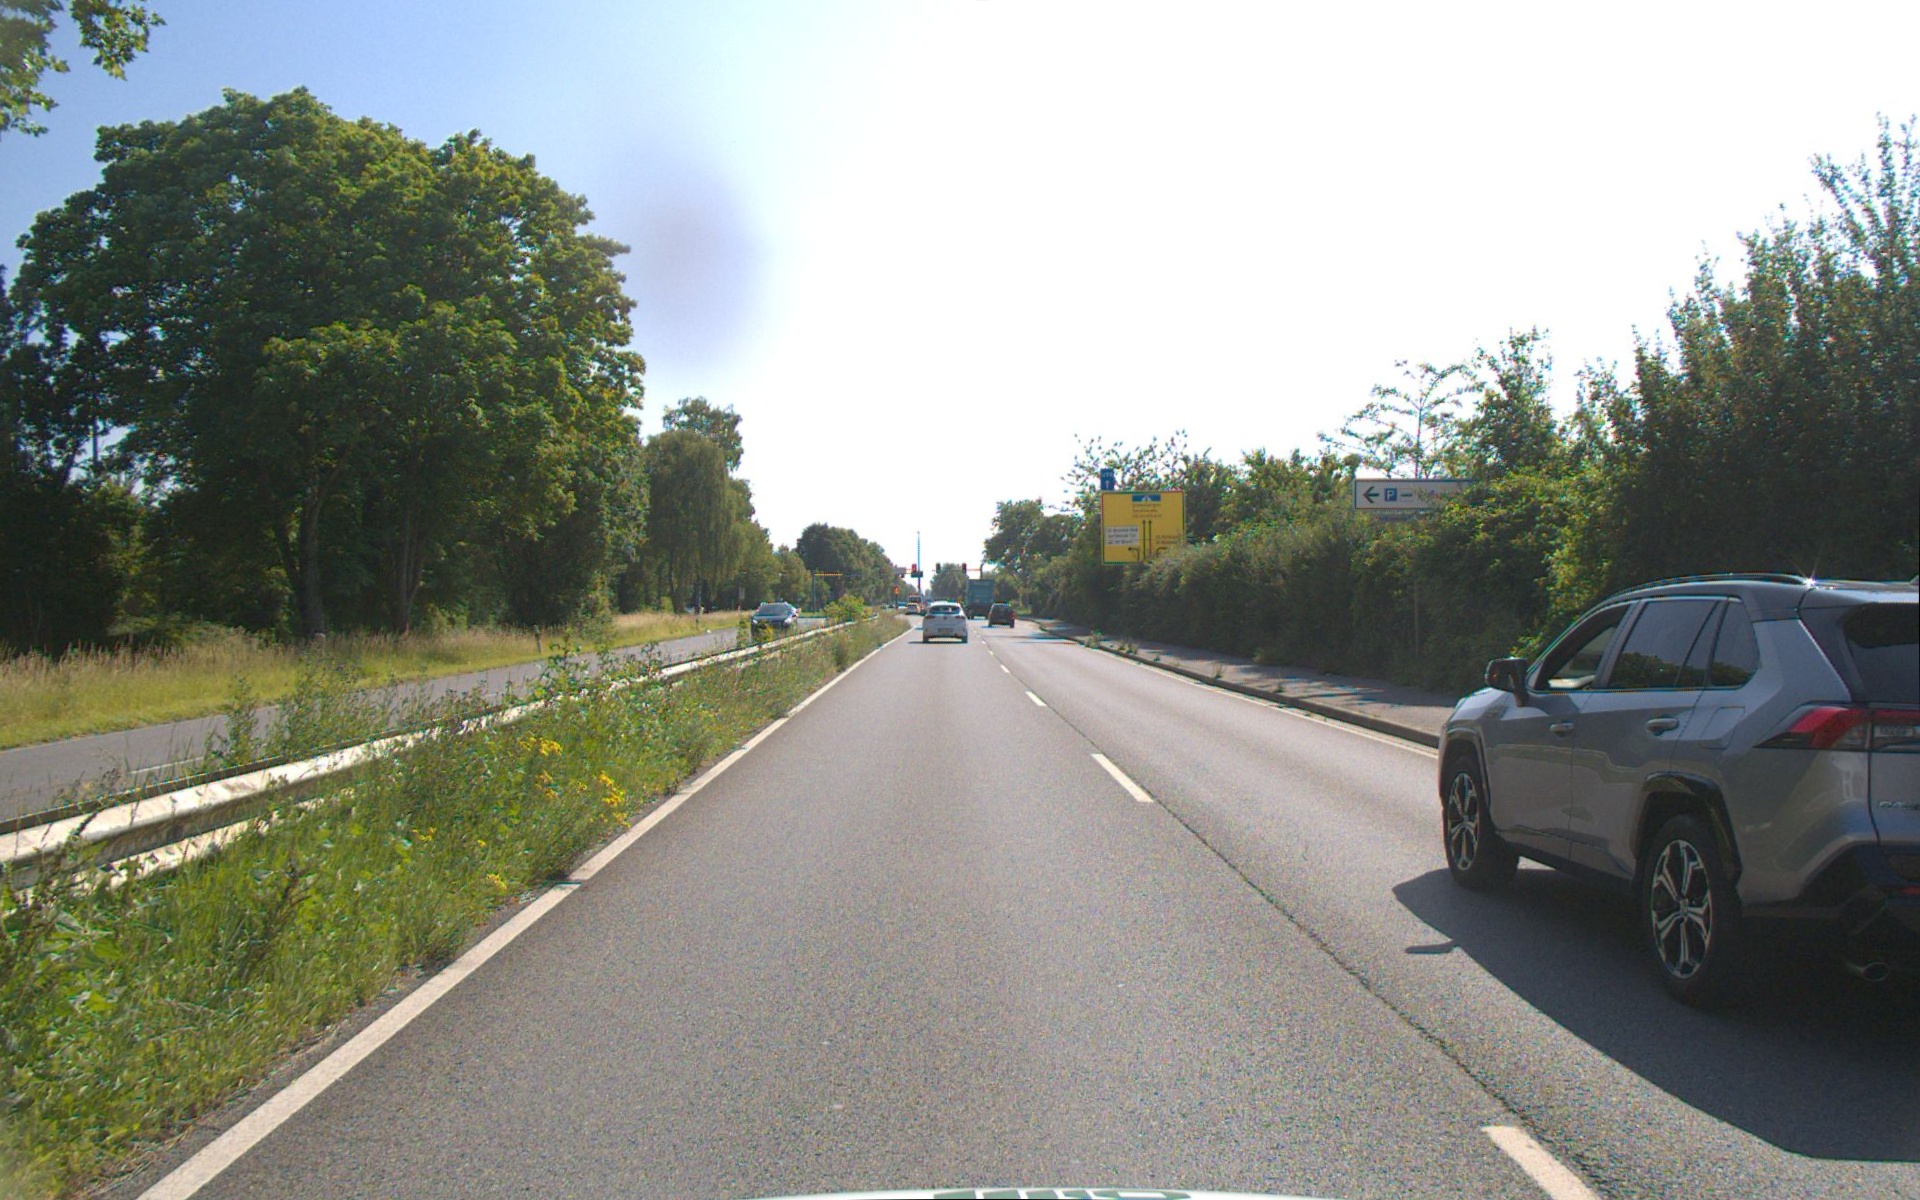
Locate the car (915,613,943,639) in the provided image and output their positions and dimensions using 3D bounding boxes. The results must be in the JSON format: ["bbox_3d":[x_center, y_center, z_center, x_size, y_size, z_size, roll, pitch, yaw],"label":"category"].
[{"bbox_3d":[-1.793,1.496,95.660,1.540,1.439,3.276,-1,-1,-1],"label":"car"}]

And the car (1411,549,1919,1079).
[{"bbox_3d":[3.726,0.736,7.729,1.863,1.709,4.682,1,-1,-1],"label":"car"}]

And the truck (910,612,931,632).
[{"bbox_3d":[-5.065,2.810,212.845,2.324,2.430,6.042,0,1,1],"label":"truck"}]

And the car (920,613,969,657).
[{"bbox_3d":[-0.566,1.280,61.813,1.762,1.580,4.000,1,0,0],"label":"car"}]

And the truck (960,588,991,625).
[{"bbox_3d":[1.488,0.696,162.957,2.833,3.489,9.166,-1,-1,-1],"label":"truck"}]

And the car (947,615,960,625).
[{"bbox_3d":[-0.961,3.067,249.385,1.775,1.490,4.460,-1,-1,1],"label":"car"}]

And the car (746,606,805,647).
[{"bbox_3d":[-7.381,1.063,66.555,1.742,1.557,4.162,-2,-1,1],"label":"car"}]

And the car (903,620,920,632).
[{"bbox_3d":[-5.971,3.248,205.576,1.775,1.490,4.971,-1,-1,2],"label":"car"}]

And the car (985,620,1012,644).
[{"bbox_3d":[2.373,1.983,102.651,1.540,1.439,3.276,0,-2,-1],"label":"car"}]
